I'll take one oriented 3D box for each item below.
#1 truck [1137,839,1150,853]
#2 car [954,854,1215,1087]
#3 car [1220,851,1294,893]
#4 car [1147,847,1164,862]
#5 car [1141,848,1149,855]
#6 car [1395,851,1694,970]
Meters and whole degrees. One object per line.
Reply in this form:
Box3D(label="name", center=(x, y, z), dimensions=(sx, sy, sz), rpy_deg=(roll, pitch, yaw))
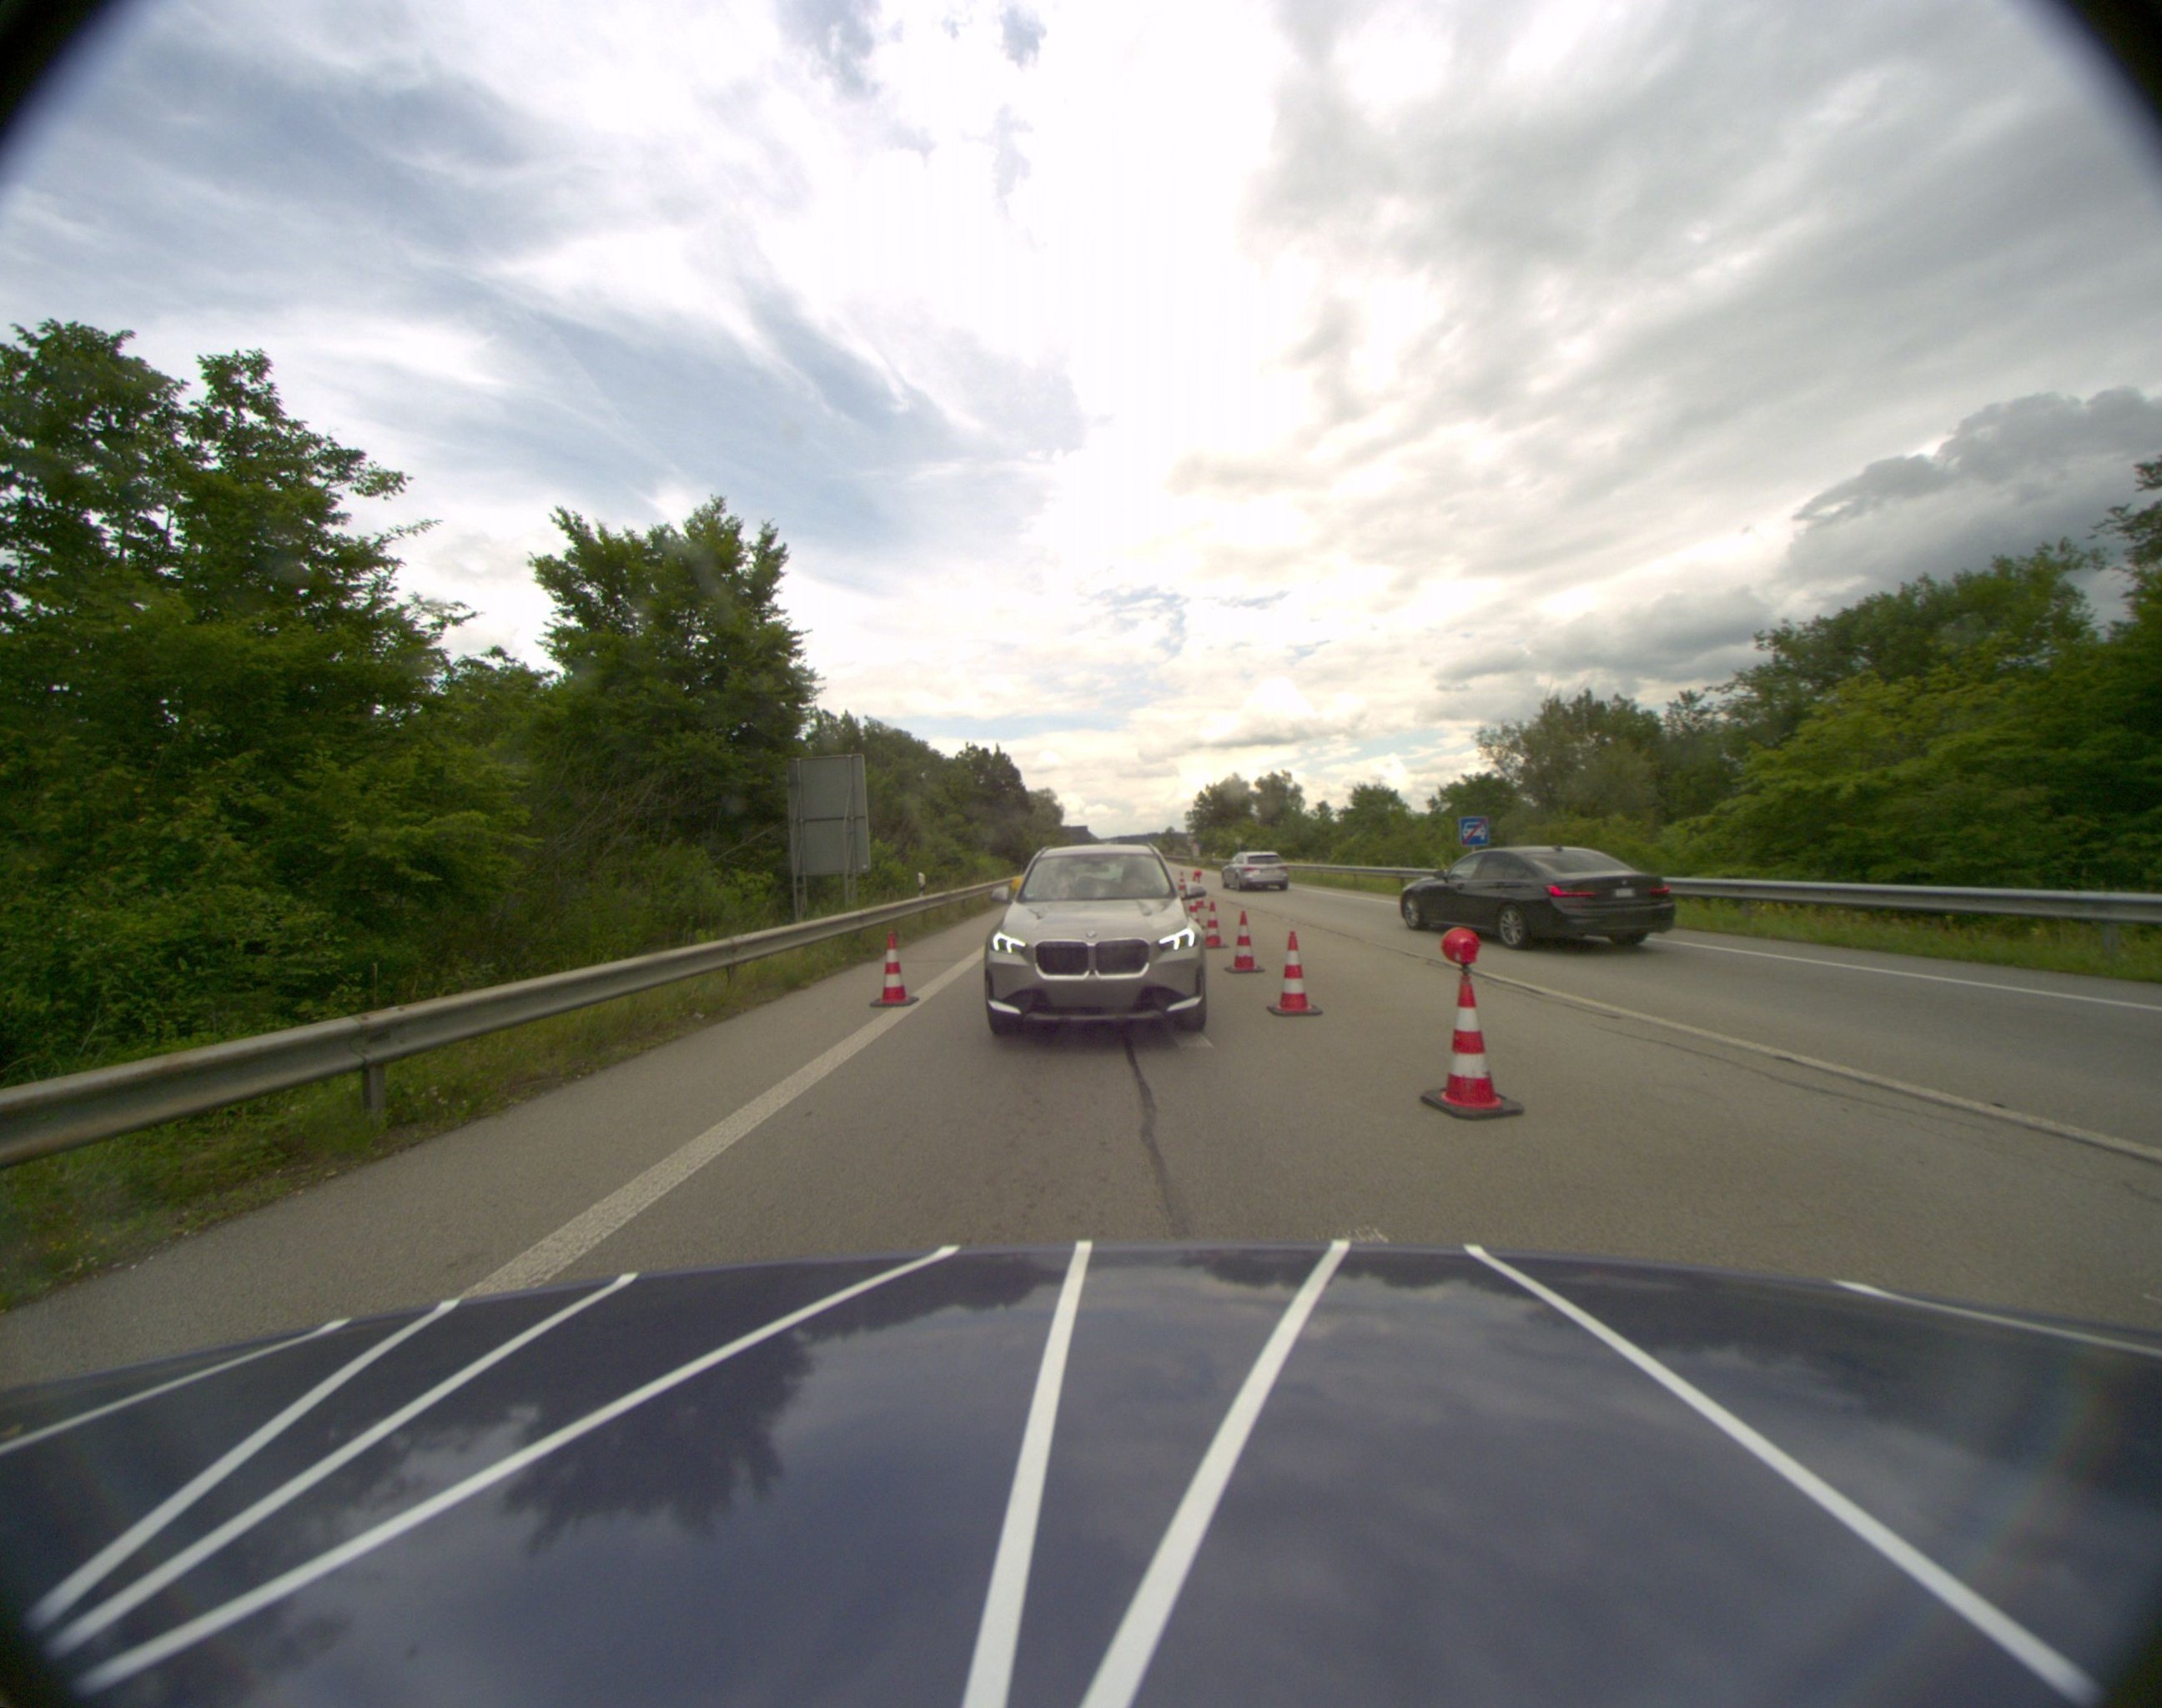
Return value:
Box3D(label="truck", center=(17.299, -2.085, 210.682), dimensions=(3.113, 3.682, 9.545), rpy_deg=(-2, 0, 3))
Box3D(label="car", center=(0.145, 0.839, 7.634), dimensions=(1.817, 1.598, 4.434), rpy_deg=(-2, 0, 3))
Box3D(label="car", center=(6.564, 0.618, 28.784), dimensions=(1.683, 1.393, 4.373), rpy_deg=(-2, 0, -1))
Box3D(label="car", center=(10.306, 0.044, 105.436), dimensions=(2.034, 1.976, 5.316), rpy_deg=(-2, 0, 3))
Box3D(label="car", center=(15.037, -0.625, 178.596), dimensions=(1.929, 1.597, 4.533), rpy_deg=(-2, 0, 3))
Box3D(label="car", center=(6.693, 0.699, 11.650), dimensions=(1.714, 1.428, 4.335), rpy_deg=(-2, 0, -4))
